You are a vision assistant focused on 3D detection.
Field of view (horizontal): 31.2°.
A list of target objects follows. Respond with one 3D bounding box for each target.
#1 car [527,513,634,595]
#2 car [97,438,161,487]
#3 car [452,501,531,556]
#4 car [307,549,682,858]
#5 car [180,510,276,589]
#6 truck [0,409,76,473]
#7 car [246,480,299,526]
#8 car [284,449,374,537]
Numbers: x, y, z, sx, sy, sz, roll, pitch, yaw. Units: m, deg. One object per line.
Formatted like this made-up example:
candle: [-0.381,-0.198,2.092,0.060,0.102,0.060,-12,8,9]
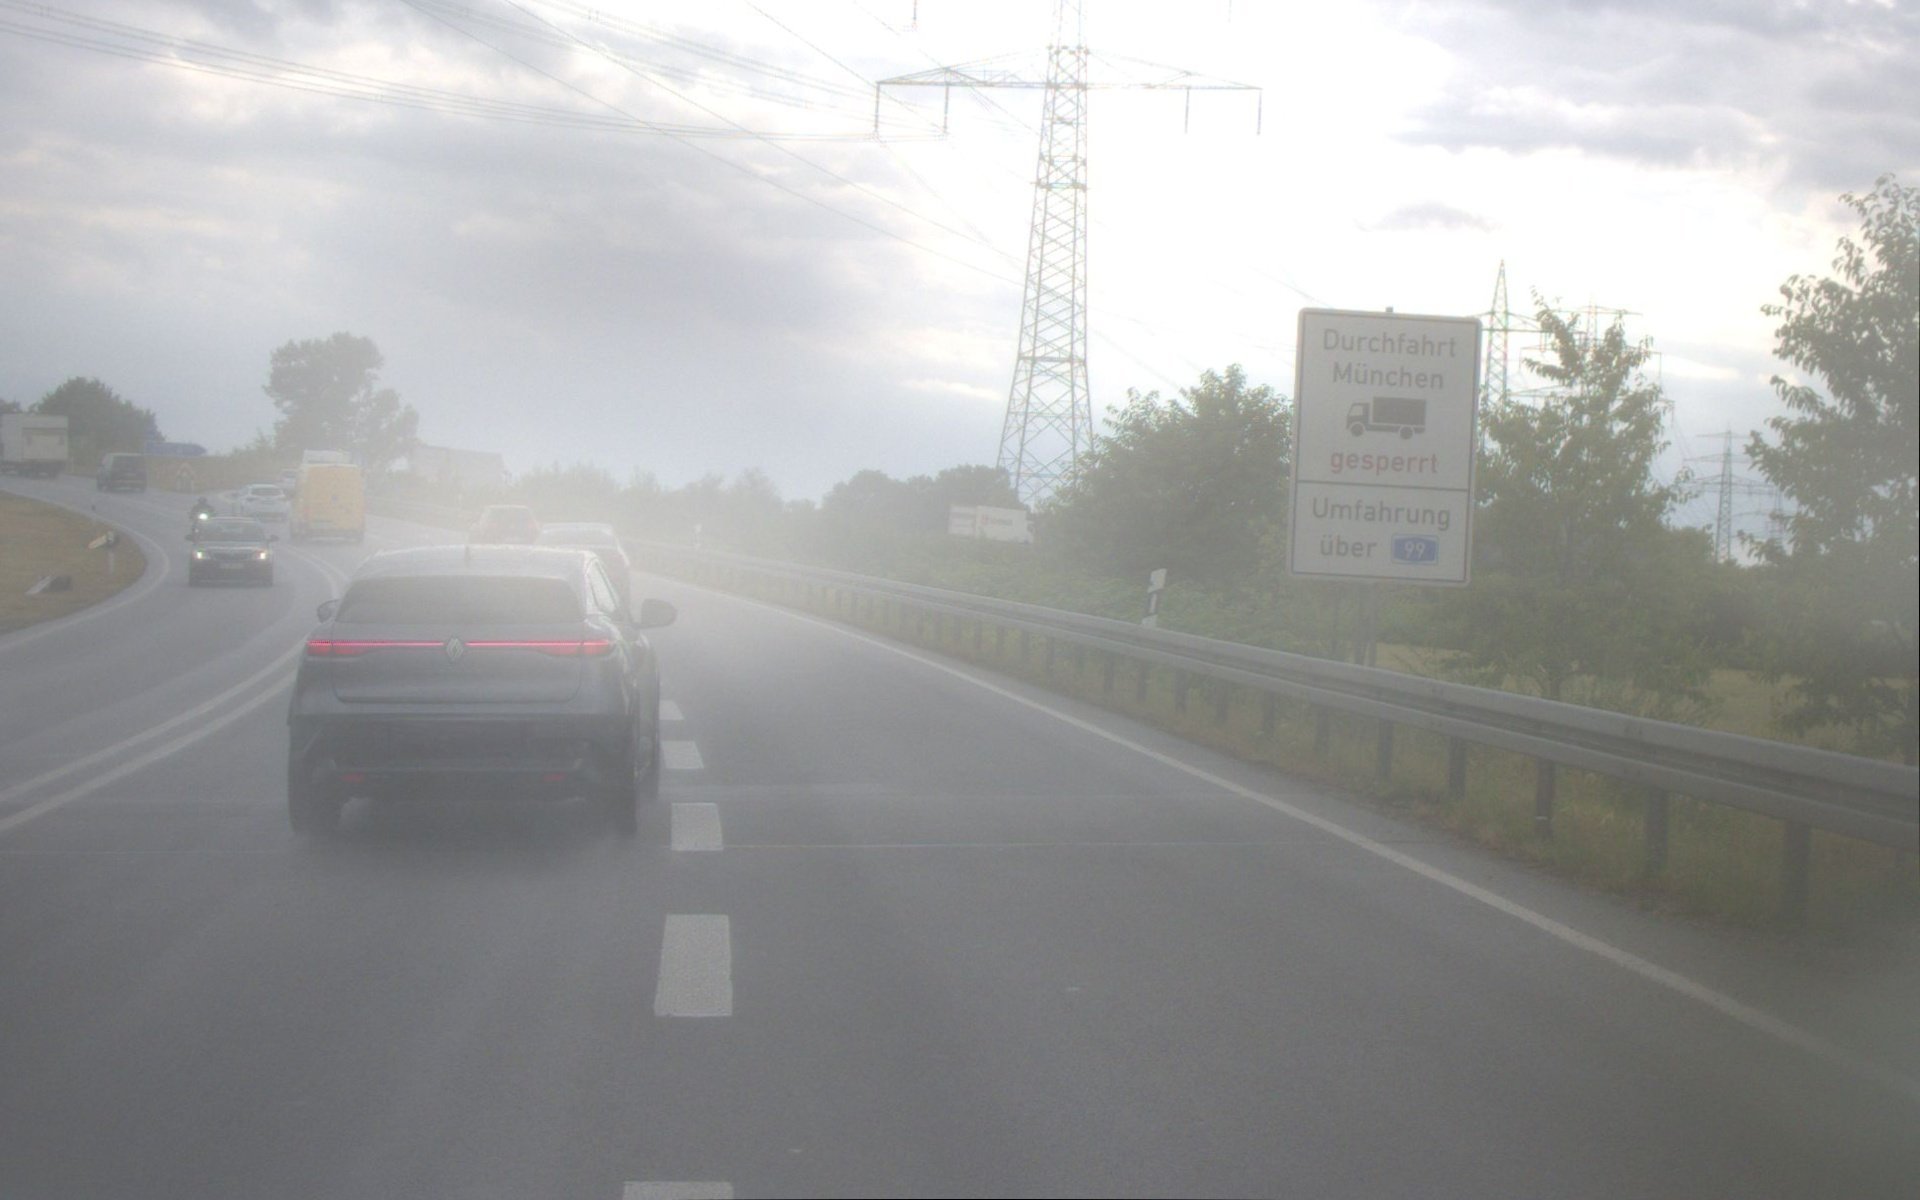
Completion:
car: [-6.949,-0.828,62.740,1.791,1.436,4.001,0,0,-8]
car: [-42.135,-6.944,174.178,2.601,2.243,5.537,1,1,-19]
car: [-13.725,-2.078,100.573,1.791,1.536,4.001,-1,1,-15]
car: [-2.441,0.479,18.755,1.791,1.436,4.001,1,1,-5]
car: [-15.714,-1.110,73.927,1.799,1.588,4.227,1,2,-9]
truck: [-53.110,-9.090,197.610,3.045,3.373,7.646,1,1,-25]
car: [-26.946,-3.780,134.647,1.791,1.682,4.001,1,1,-14]
car: [-20.530,-3.419,111.611,2.572,2.716,7.198,1,1,-12]
